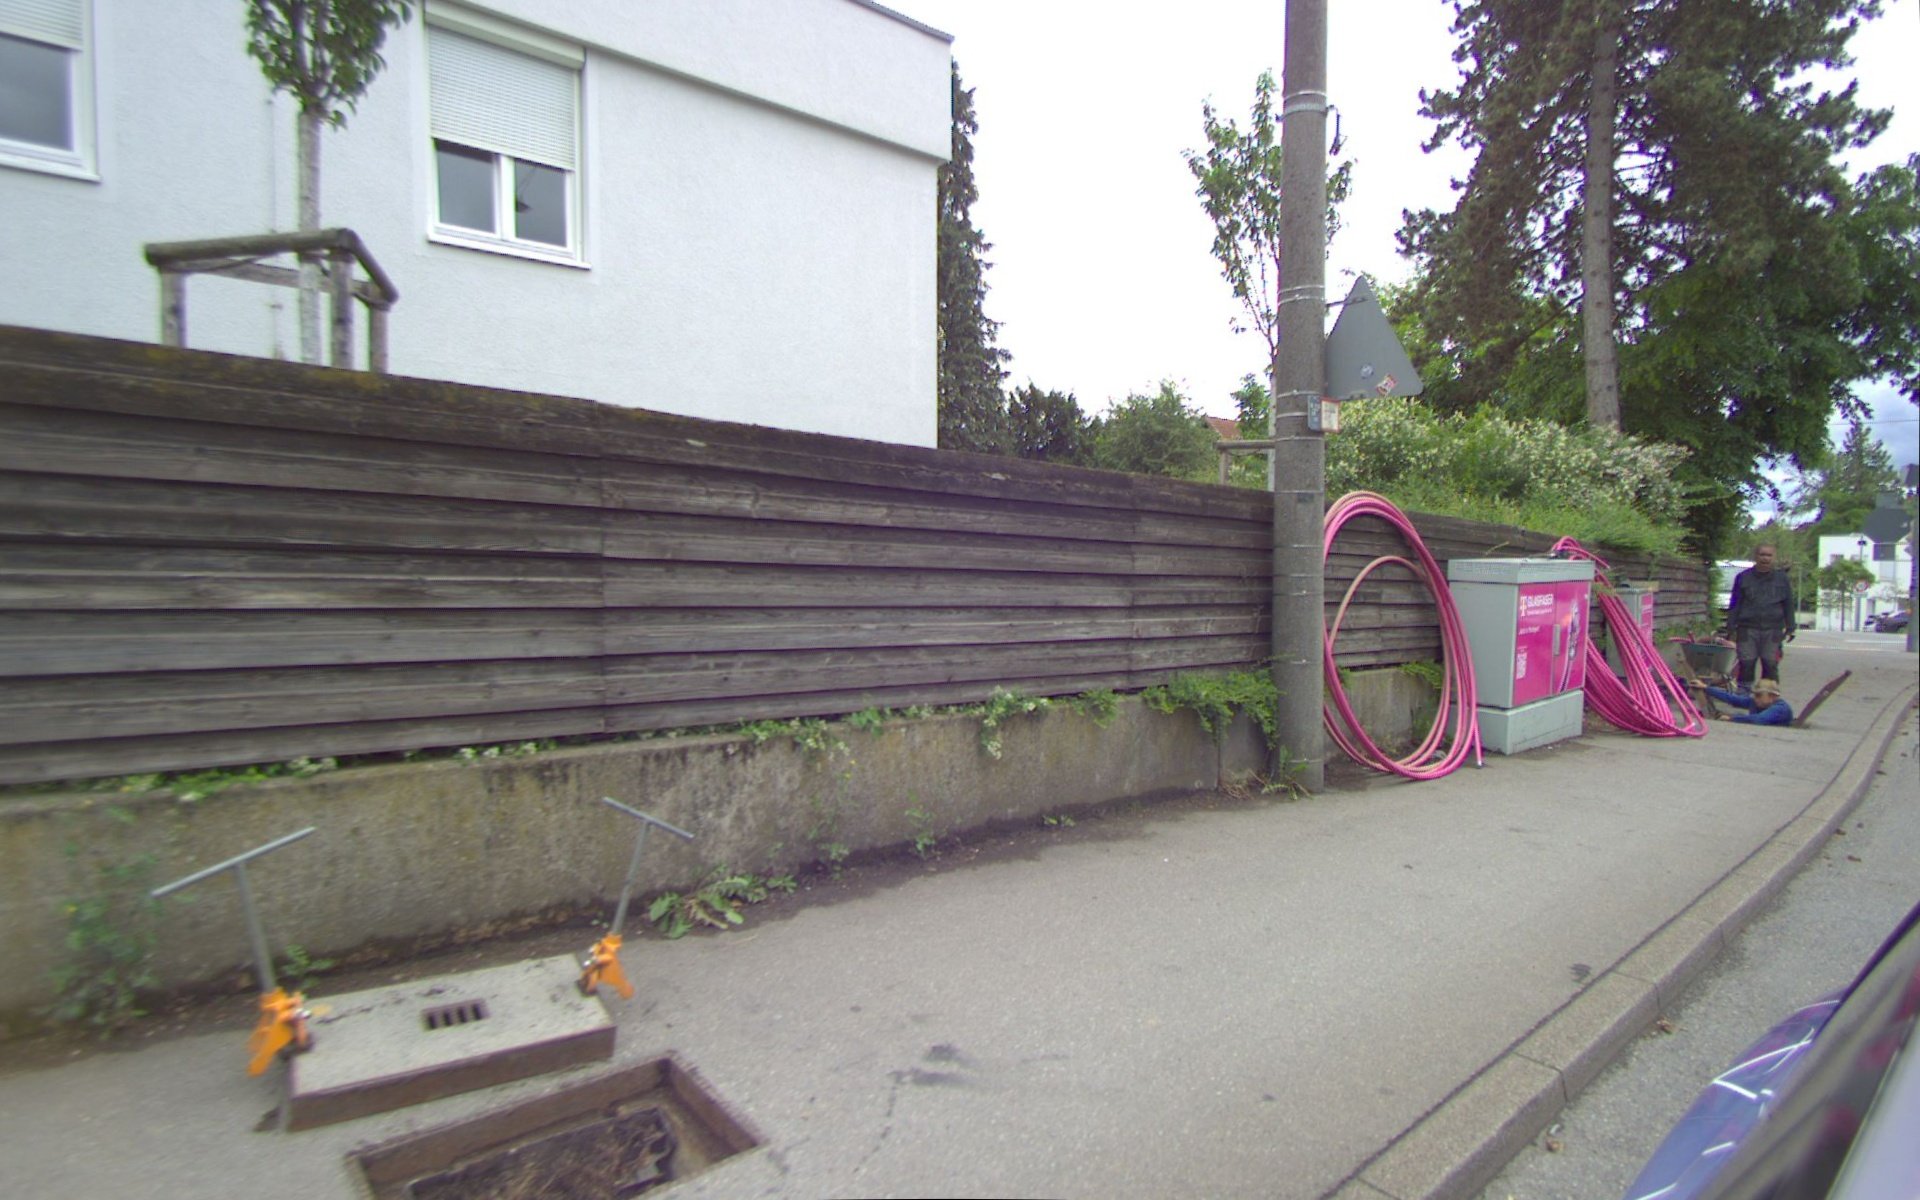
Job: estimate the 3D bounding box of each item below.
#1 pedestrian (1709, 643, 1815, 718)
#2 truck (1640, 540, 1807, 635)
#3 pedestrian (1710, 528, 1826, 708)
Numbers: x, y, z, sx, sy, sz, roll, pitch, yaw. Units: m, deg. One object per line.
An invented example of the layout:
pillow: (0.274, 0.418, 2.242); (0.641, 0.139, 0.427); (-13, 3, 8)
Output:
pedestrian: (8.376, 0.833, 10.593); (0.636, 0.705, 0.584); (1, 1, 7)
truck: (21.798, -0.440, 29.265); (2.379, 2.380, 6.140); (3, 3, 24)
pedestrian: (9.173, 0.175, 11.535); (0.841, 1.947, 0.793); (2, 1, 28)
